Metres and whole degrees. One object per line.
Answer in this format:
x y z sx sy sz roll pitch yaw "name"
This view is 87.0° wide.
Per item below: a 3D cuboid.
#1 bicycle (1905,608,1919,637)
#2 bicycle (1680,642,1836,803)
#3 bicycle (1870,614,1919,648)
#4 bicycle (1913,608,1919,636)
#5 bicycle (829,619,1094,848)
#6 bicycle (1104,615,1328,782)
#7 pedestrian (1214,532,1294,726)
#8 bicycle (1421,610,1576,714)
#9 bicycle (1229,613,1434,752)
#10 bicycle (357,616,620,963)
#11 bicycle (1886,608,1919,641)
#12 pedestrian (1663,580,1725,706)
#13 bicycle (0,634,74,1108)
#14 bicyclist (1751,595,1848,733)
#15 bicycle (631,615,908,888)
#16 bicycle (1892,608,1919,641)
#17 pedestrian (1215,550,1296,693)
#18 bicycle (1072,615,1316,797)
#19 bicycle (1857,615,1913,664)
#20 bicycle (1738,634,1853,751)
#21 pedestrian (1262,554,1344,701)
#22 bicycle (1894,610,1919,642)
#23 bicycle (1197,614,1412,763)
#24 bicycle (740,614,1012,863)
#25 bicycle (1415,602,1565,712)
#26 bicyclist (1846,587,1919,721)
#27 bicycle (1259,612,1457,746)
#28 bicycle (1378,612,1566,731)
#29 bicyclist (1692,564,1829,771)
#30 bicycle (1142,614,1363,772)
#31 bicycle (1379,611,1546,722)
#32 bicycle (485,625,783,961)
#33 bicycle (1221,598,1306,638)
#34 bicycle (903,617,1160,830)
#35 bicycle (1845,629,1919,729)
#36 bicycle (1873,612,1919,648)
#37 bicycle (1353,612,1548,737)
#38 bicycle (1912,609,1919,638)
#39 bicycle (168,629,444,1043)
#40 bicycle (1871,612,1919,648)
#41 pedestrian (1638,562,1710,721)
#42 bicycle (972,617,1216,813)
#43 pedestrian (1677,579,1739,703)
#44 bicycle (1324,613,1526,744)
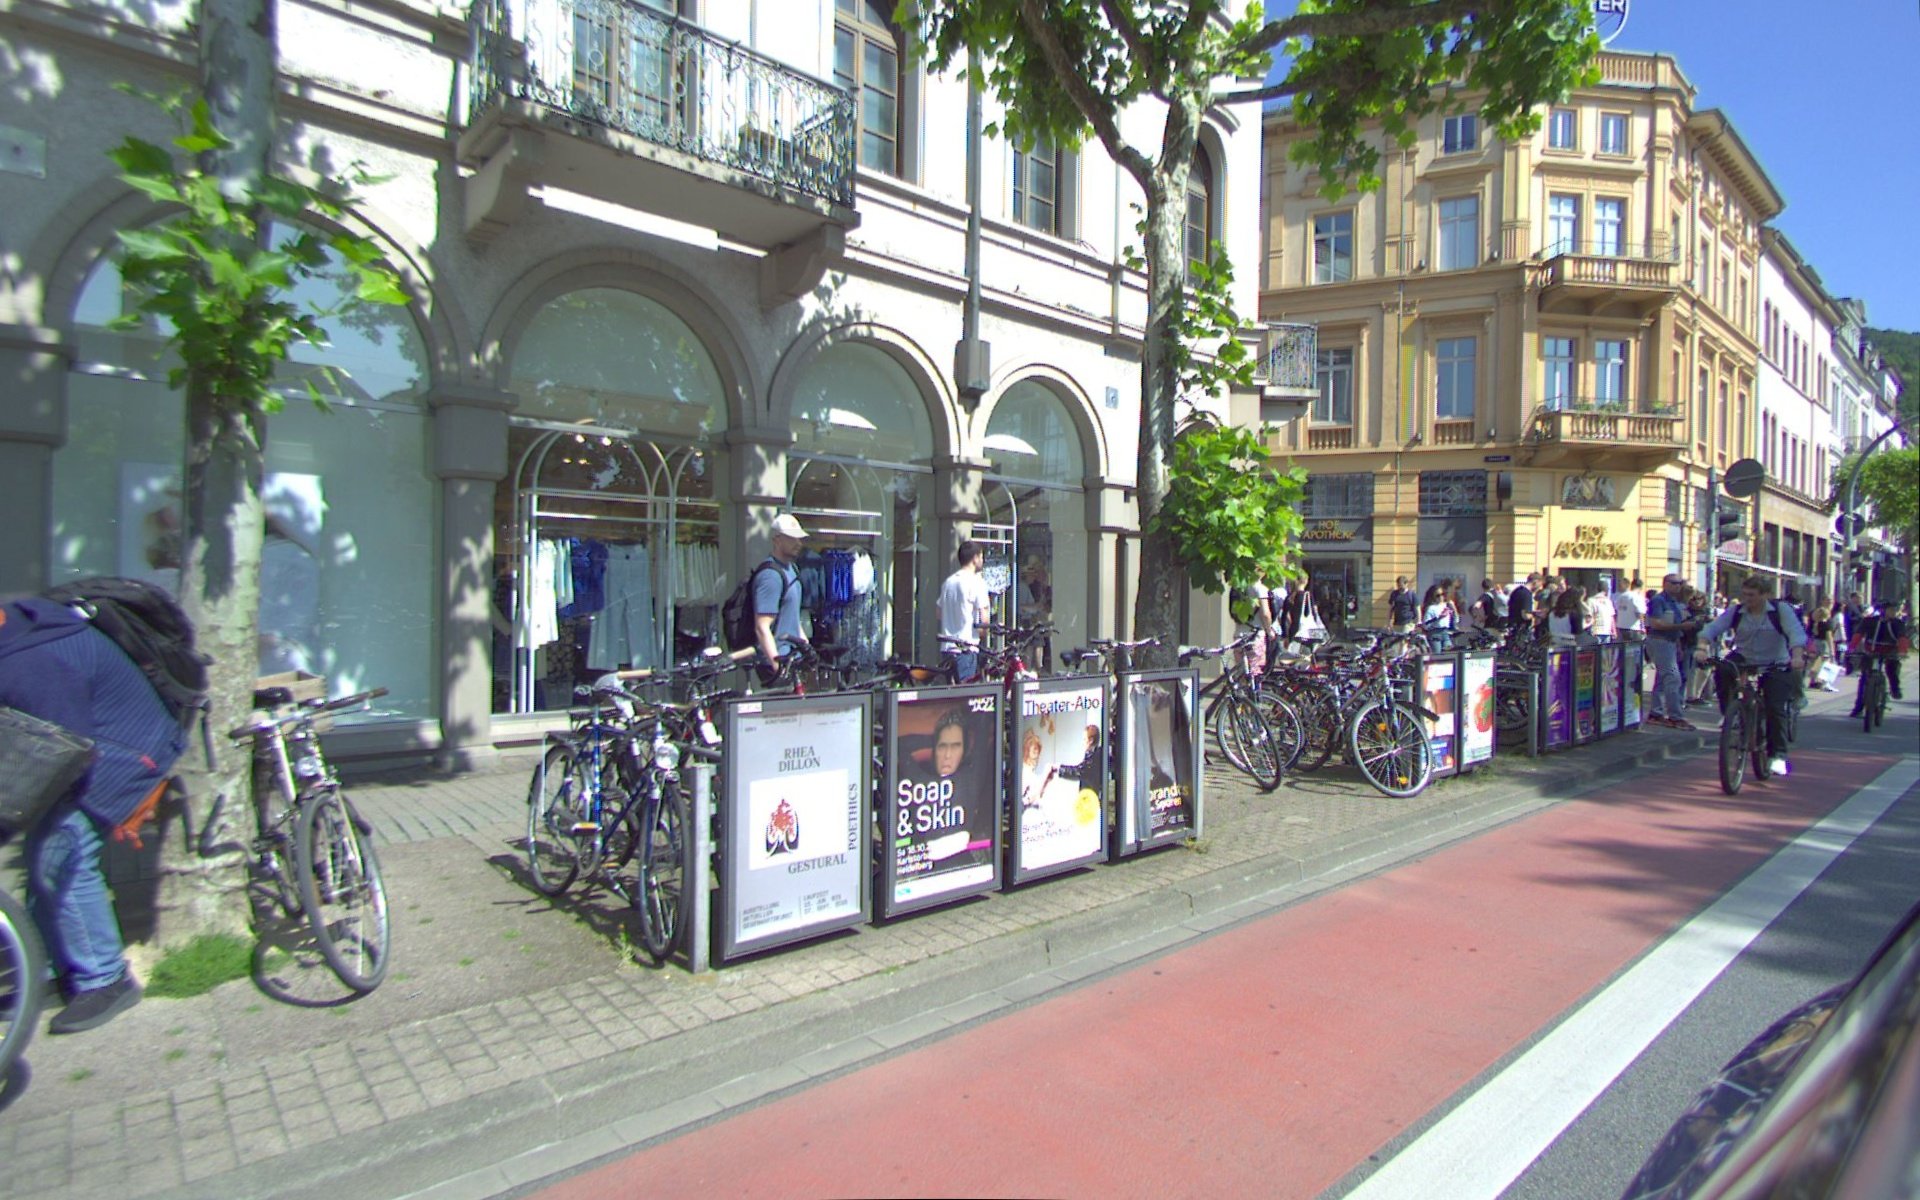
39.496 0.927 40.976 0.582 1.161 1.754 0 0 -43 "bicycle"
6.584 0.930 8.312 1.866 1.107 0.734 0 -1 -43 "bicycle"
30.897 1.019 33.024 0.582 1.048 1.754 0 0 -43 "bicycle"
41.038 0.933 42.266 0.582 1.161 1.754 0 0 -43 "bicycle"
-0.048 0.725 6.215 0.582 1.161 1.754 0 0 -43 "bicycle"
2.011 0.725 8.165 0.509 1.161 1.754 0 0 -43 "bicycle"
3.011 0.291 10.356 0.593 1.906 0.545 1 -2 -44 "pedestrian"
6.577 0.723 12.429 0.418 1.161 1.630 1 0 -43 "bicycle"
3.487 0.725 9.621 0.582 1.161 1.754 0 0 -43 "bicycle"
-2.076 0.672 4.332 0.511 1.161 1.704 0 0 -43 "bicycle"
34.220 0.880 36.056 0.582 1.161 1.754 0 0 -43 "bicycle"
10.259 0.585 14.144 0.612 1.706 0.577 1 -2 -45 "pedestrian"
-3.197 0.728 3.164 0.582 1.161 1.754 0 0 -43 "bicycle"
9.009 0.659 10.862 0.765 1.414 0.689 0 -1 -43 "bicyclist"
-1.065 0.684 5.333 0.582 1.161 1.754 0 0 -43 "bicycle"
34.809 0.879 36.492 0.582 1.161 1.754 0 0 -43 "bicycle"
3.870 0.271 13.248 0.764 1.805 0.719 1 -1 -44 "pedestrian"
1.708 0.722 7.606 0.588 1.161 1.754 0 0 -43 "bicycle"
23.824 0.993 26.091 0.732 1.106 1.874 5 3 34 "bicycle"
8.955 0.938 10.823 1.788 1.107 0.734 1 -1 -43 "bicycle"
4.282 0.334 12.632 0.741 1.763 0.675 1 -1 -44 "pedestrian"
35.838 0.960 37.519 0.582 1.161 1.754 0 0 -43 "bicycle"
3.025 0.726 9.026 0.582 1.161 1.754 0 0 -43 "bicycle"
-0.539 0.685 5.769 0.582 1.161 1.754 0 0 -43 "bicycle"
6.298 0.639 12.085 0.418 1.212 1.530 1 0 -43 "bicycle"
11.517 0.644 12.570 0.765 1.597 0.688 1 -1 -45 "bicyclist"
3.910 0.725 10.050 0.582 1.173 1.754 0 0 -43 "bicycle"
5.580 0.731 11.107 0.582 1.161 1.754 0 0 -43 "bicycle"
6.595 0.523 8.341 0.765 1.597 0.749 0 -1 -43 "bicyclist"
2.443 0.725 8.610 0.582 1.161 1.754 0 0 -43 "bicycle"
5.794 0.724 11.745 0.514 1.161 1.658 0 0 -43 "bicycle"
-1.531 0.727 4.547 0.582 1.161 1.754 0 0 -43 "bicycle"
9.227 0.552 30.794 2.393 1.166 0.775 -1 -1 25 "bicycle"
0.411 0.720 6.634 0.582 1.161 1.754 0 0 -43 "bicycle"
11.527 0.934 12.560 1.867 1.107 0.666 0 -1 -45 "bicycle"
32.253 1.024 34.421 0.582 1.161 1.754 0 0 -43 "bicycle"
5.121 0.733 10.646 0.582 1.161 1.754 0 0 -43 "bicycle"
40.439 0.986 41.675 0.582 1.161 1.754 0 0 -43 "bicycle"
-2.556 0.726 3.862 0.582 1.161 1.754 0 0 -43 "bicycle"
31.640 0.994 33.820 0.582 1.161 1.754 0 0 -43 "bicycle"
8.717 0.494 12.349 0.706 1.869 0.577 1 -2 -45 "pedestrian"
0.882 0.725 7.114 0.582 1.161 1.756 0 0 -41 "bicycle"
10.719 0.570 14.498 0.581 1.705 0.568 1 2 -45 "pedestrian"
4.623 0.732 10.163 0.582 1.161 1.754 0 0 -43 "bicycle"
